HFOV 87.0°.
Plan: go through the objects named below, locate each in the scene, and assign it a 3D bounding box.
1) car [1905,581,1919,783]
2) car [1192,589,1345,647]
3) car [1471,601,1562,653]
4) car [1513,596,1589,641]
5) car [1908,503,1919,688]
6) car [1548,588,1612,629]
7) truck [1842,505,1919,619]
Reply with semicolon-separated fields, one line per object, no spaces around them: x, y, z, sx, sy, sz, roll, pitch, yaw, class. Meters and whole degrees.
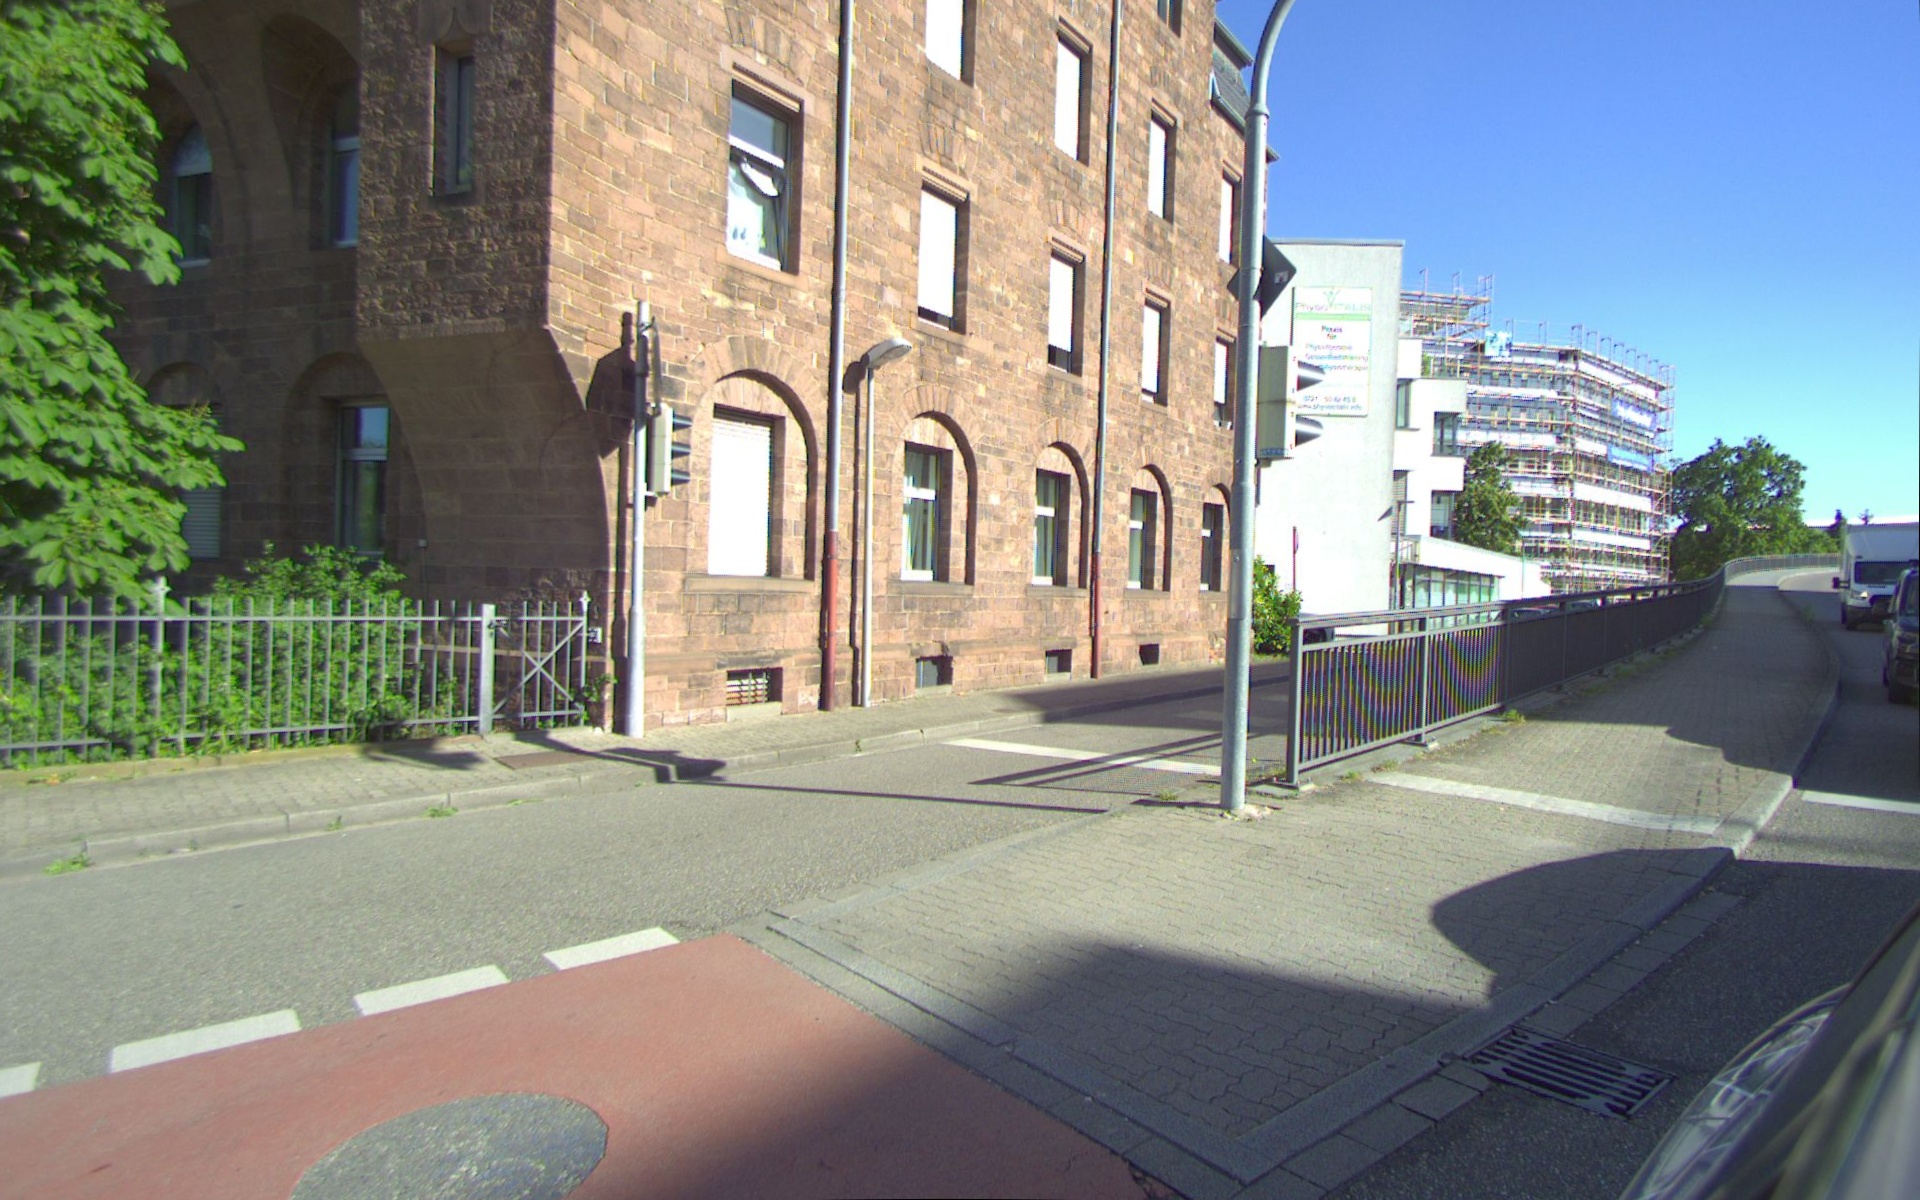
9.284;0.625;8.494;1.875;1.489;4.562;3;2;44;car
9.114;0.514;30.181;4.020;1.551;1.917;2;0;5;car
18.584;0.869;33.710;2.043;1.551;4.036;2;0;38;car
22.699;0.689;38.825;2.043;1.551;4.037;2;0;37;car
14.101;0.004;13.560;1.945;2.290;4.710;2;1;43;car
27.612;0.381;45.036;2.043;1.707;4.037;2;0;37;car
28.802;-1.042;31.091;2.495;3.167;6.855;2;1;41;truck
